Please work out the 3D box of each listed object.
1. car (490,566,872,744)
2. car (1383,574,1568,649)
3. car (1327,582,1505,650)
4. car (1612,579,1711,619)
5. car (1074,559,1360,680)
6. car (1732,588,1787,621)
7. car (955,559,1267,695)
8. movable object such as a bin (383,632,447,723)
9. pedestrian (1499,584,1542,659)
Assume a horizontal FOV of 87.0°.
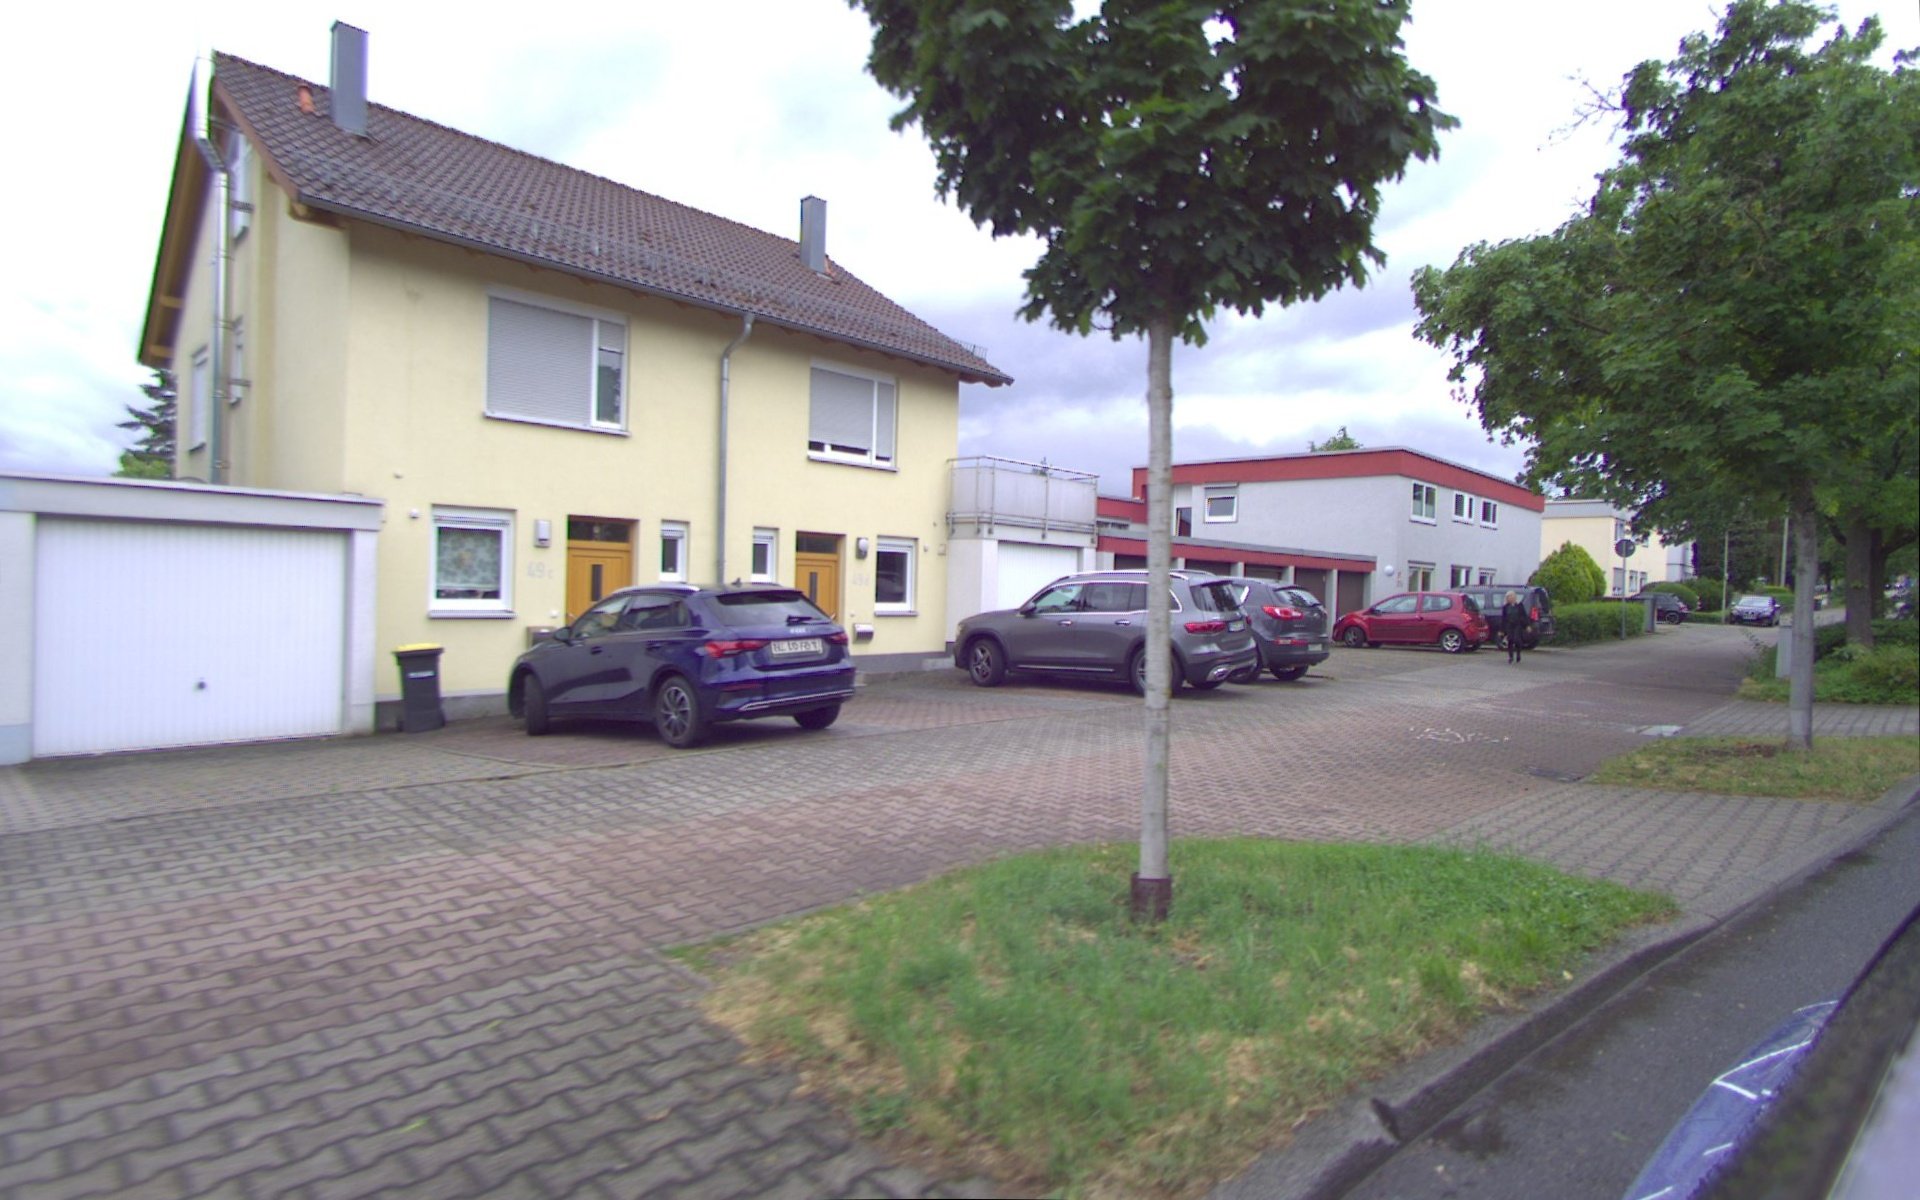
[{"bbox_3d":[-2.863,0.493,9.935,3.980,1.405,1.651,-2,-2,40],"label":"car"},{"bbox_3d":[13.599,0.254,26.807,3.987,1.742,1.894,3,2,43],"label":"car"},{"bbox_3d":[11.348,0.339,25.313,3.692,1.459,1.680,3,2,43],"label":"car"},{"bbox_3d":[33.586,-0.058,48.497,3.611,1.551,1.736,7,4,41],"label":"car"},{"bbox_3d":[4.144,0.222,16.792,1.959,1.692,4.183,0,2,-44],"label":"car"},{"bbox_3d":[39.641,0.222,50.152,3.764,1.528,1.688,0,2,-45],"label":"car"},{"bbox_3d":[2.076,0.333,14.568,4.169,1.693,1.698,0,0,38],"label":"car"},{"bbox_3d":[-5.816,0.823,10.803,0.473,0.934,0.367,-1,1,1],"label":"movable object such as a bin"},{"bbox_3d":[12.184,0.459,21.994,0.663,1.577,0.830,2,1,39],"label":"pedestrian"}]
